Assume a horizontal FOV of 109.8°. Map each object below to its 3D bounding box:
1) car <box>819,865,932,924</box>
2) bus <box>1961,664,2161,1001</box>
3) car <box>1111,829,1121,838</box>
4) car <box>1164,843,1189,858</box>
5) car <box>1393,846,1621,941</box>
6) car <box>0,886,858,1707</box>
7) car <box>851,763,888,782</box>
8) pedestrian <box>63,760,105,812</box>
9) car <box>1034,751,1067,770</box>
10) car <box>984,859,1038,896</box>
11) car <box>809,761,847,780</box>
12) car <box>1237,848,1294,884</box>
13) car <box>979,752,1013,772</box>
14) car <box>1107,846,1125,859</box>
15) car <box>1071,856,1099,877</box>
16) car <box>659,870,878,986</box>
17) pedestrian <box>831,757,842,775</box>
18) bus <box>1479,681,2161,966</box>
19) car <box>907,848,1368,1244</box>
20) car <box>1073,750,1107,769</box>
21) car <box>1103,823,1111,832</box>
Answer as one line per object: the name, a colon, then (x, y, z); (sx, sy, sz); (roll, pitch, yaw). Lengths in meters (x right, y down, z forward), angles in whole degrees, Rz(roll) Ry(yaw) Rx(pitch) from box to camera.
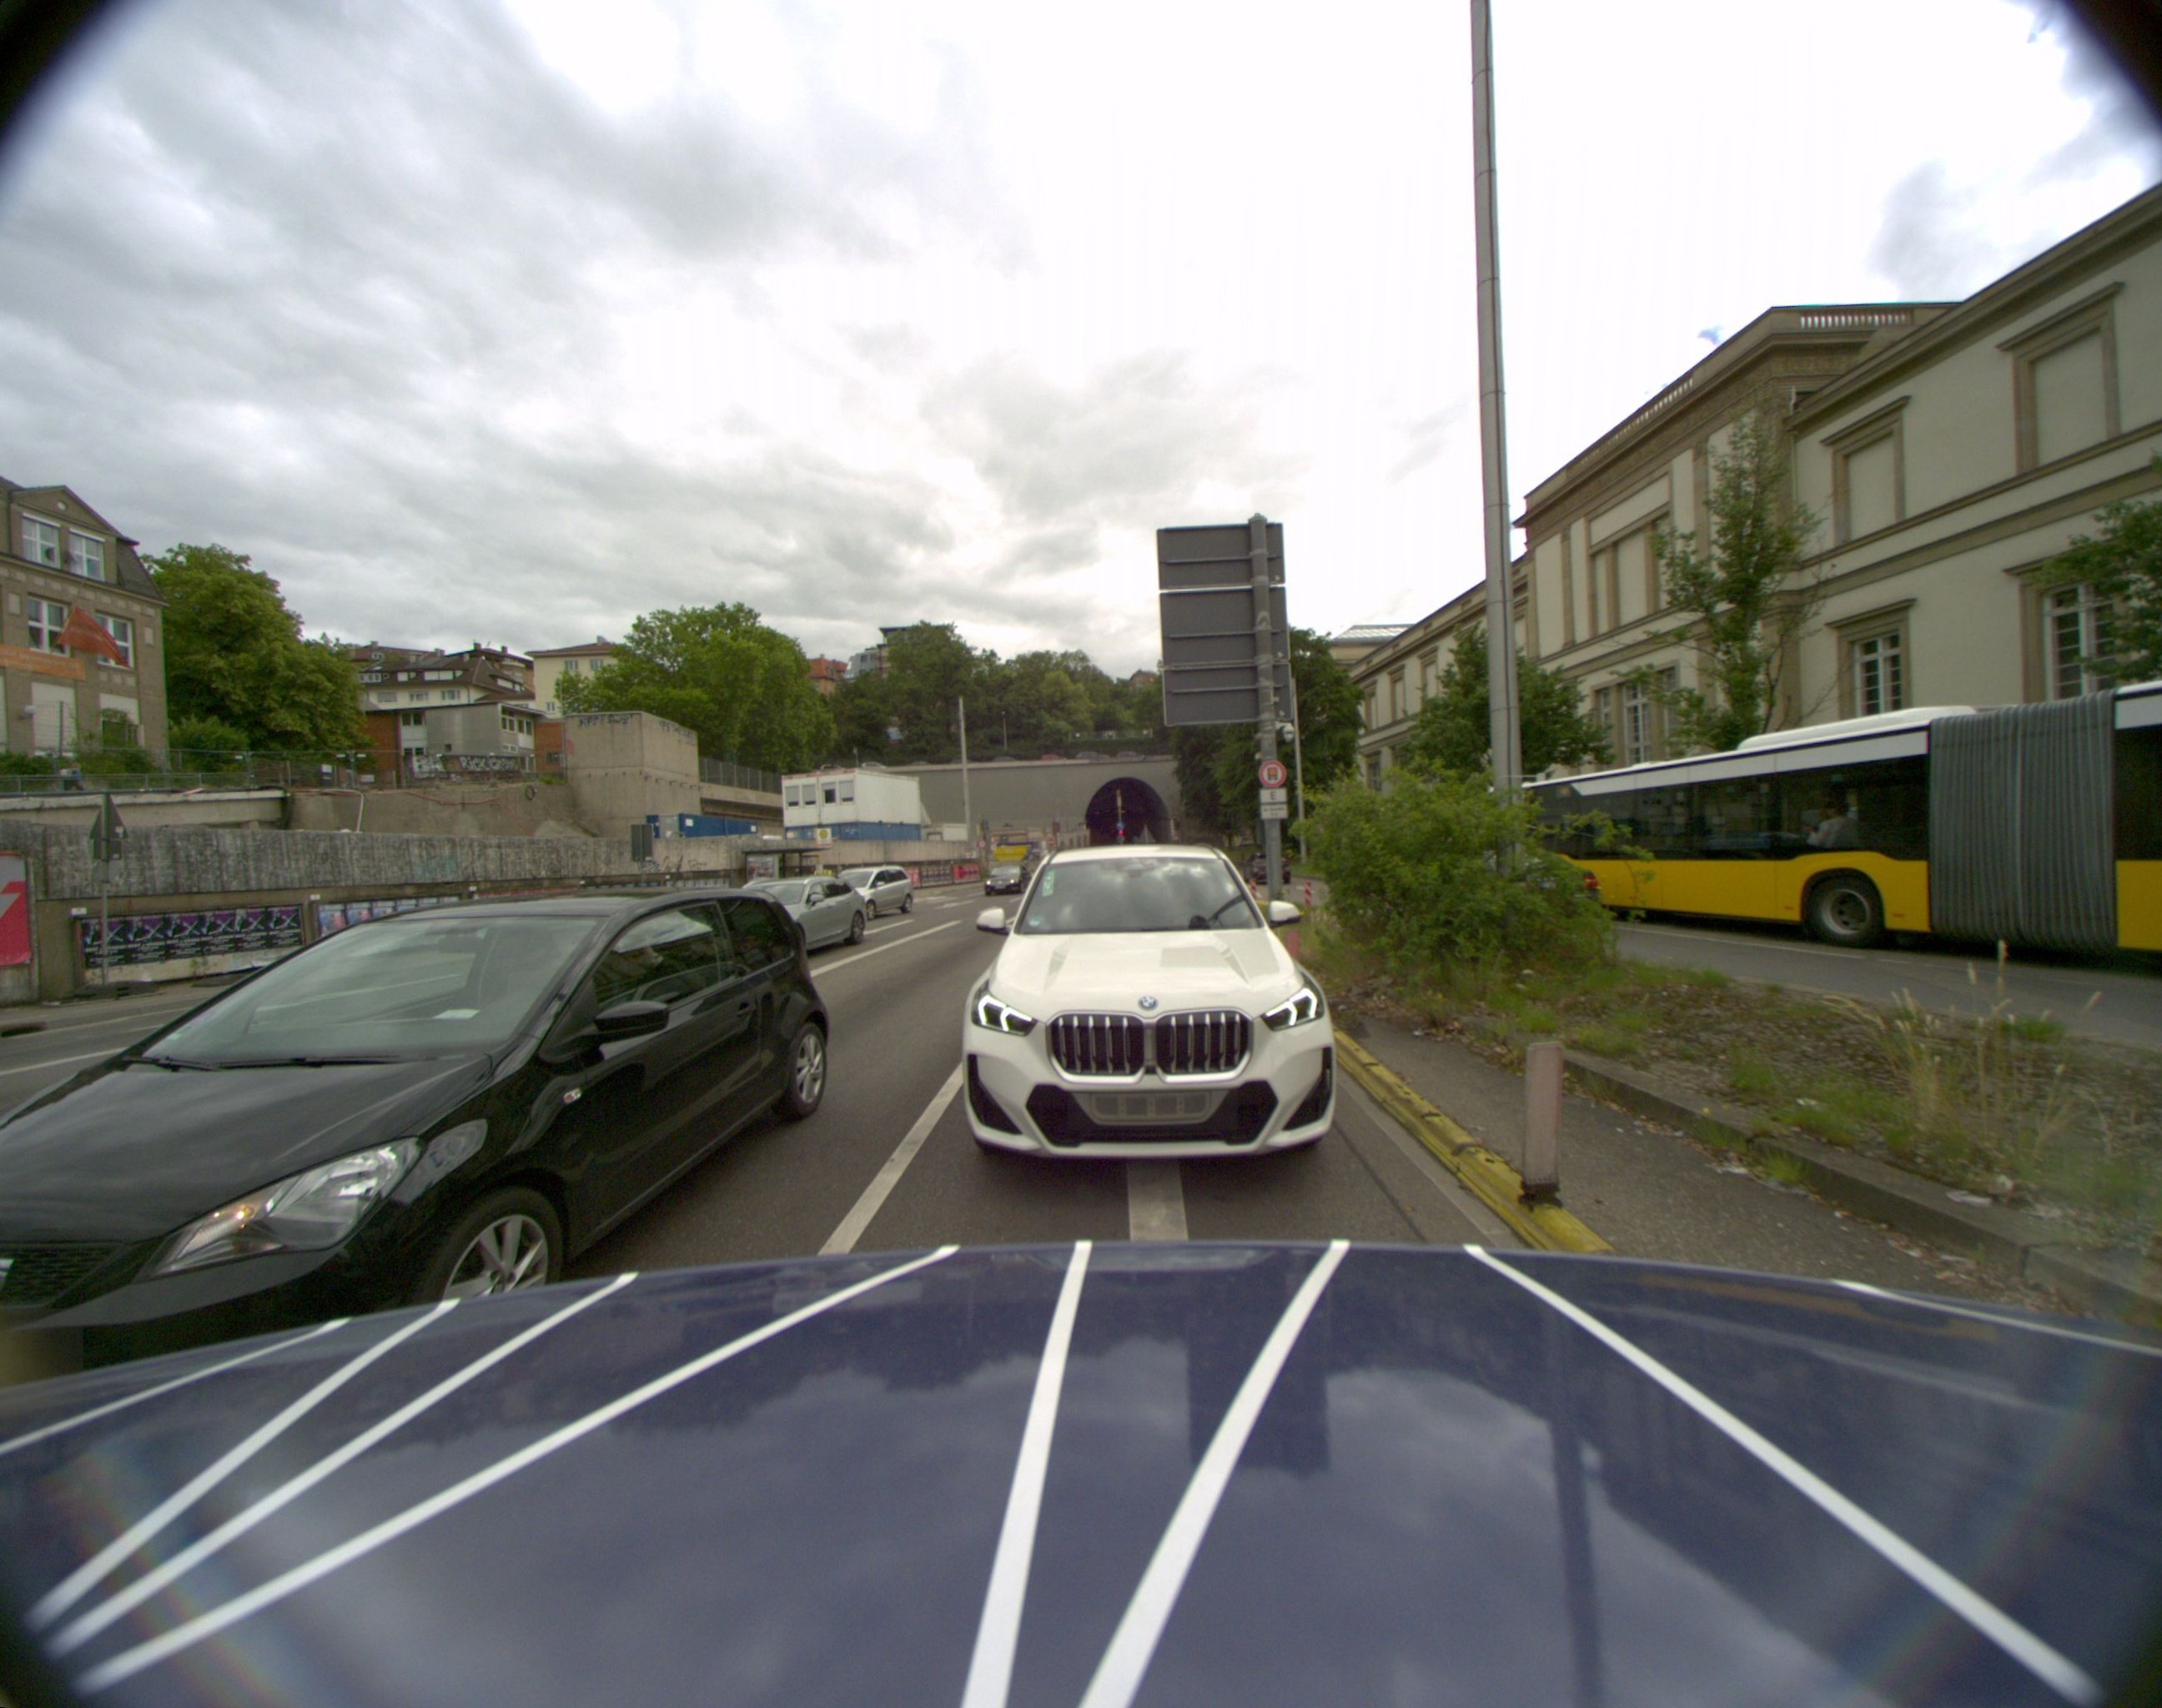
car: (-6.559, 1.253, 24.836); (1.703, 1.550, 4.554); (-3, 0, 10)
bus: (11.344, -0.250, 3.955); (2.853, 3.096, 9.121); (-3, 0, 0)
car: (6.298, -3.711, 136.524); (1.667, 1.582, 3.882); (-1, 0, 2)
car: (9.429, -0.357, 75.346); (1.711, 1.505, 4.287); (0, 0, -3)
car: (7.897, 0.633, 14.685); (1.705, 1.463, 4.629); (-3, 0, -1)
car: (-2.503, 1.010, 3.405); (1.667, 1.487, 3.882); (-3, 0, 2)
car: (-26.003, -10.047, 93.371); (3.998, 2.002, 1.999); (-2, 1, -5)
pedestrian: (-39.560, -2.701, 30.167); (0.646, 2.002, 0.666); (-2, 1, -3)
car: (-3.766, -11.621, 94.399); (3.998, 2.002, 1.999); (-2, 1, -2)
car: (-3.399, 1.098, 37.557); (1.704, 1.550, 4.552); (-3, 0, 6)
car: (-31.053, -10.234, 93.308); (3.998, 2.002, 1.999); (-2, 1, -5)
car: (8.924, 0.560, 37.048); (1.701, 1.580, 3.882); (-3, 0, -1)
car: (-10.473, -11.373, 94.005); (3.998, 2.002, 1.999); (-2, 1, -2)
car: (3.948, -0.182, 85.752); (1.730, 1.435, 4.001); (-3, 0, 5)
car: (0.282, 0.823, 51.686); (1.728, 1.310, 4.000); (-3, 0, 1)
car: (-5.403, 1.176, 13.935); (1.826, 1.562, 4.654); (-3, 0, 3)
pedestrian: (-29.086, -10.519, 90.372); (0.851, 2.002, 0.905); (-3, 1, -3)
bus: (11.179, -0.363, 13.410); (2.853, 3.096, 9.746); (-3, 0, -2)
car: (0.298, 0.807, 5.115); (1.848, 1.581, 3.882); (-3, 0, 2)
car: (1.112, -11.800, 94.483); (3.998, 2.002, 1.999); (-2, 1, -2)
car: (5.623, -5.648, 162.677); (1.667, 1.582, 3.882); (-1, 0, 2)
